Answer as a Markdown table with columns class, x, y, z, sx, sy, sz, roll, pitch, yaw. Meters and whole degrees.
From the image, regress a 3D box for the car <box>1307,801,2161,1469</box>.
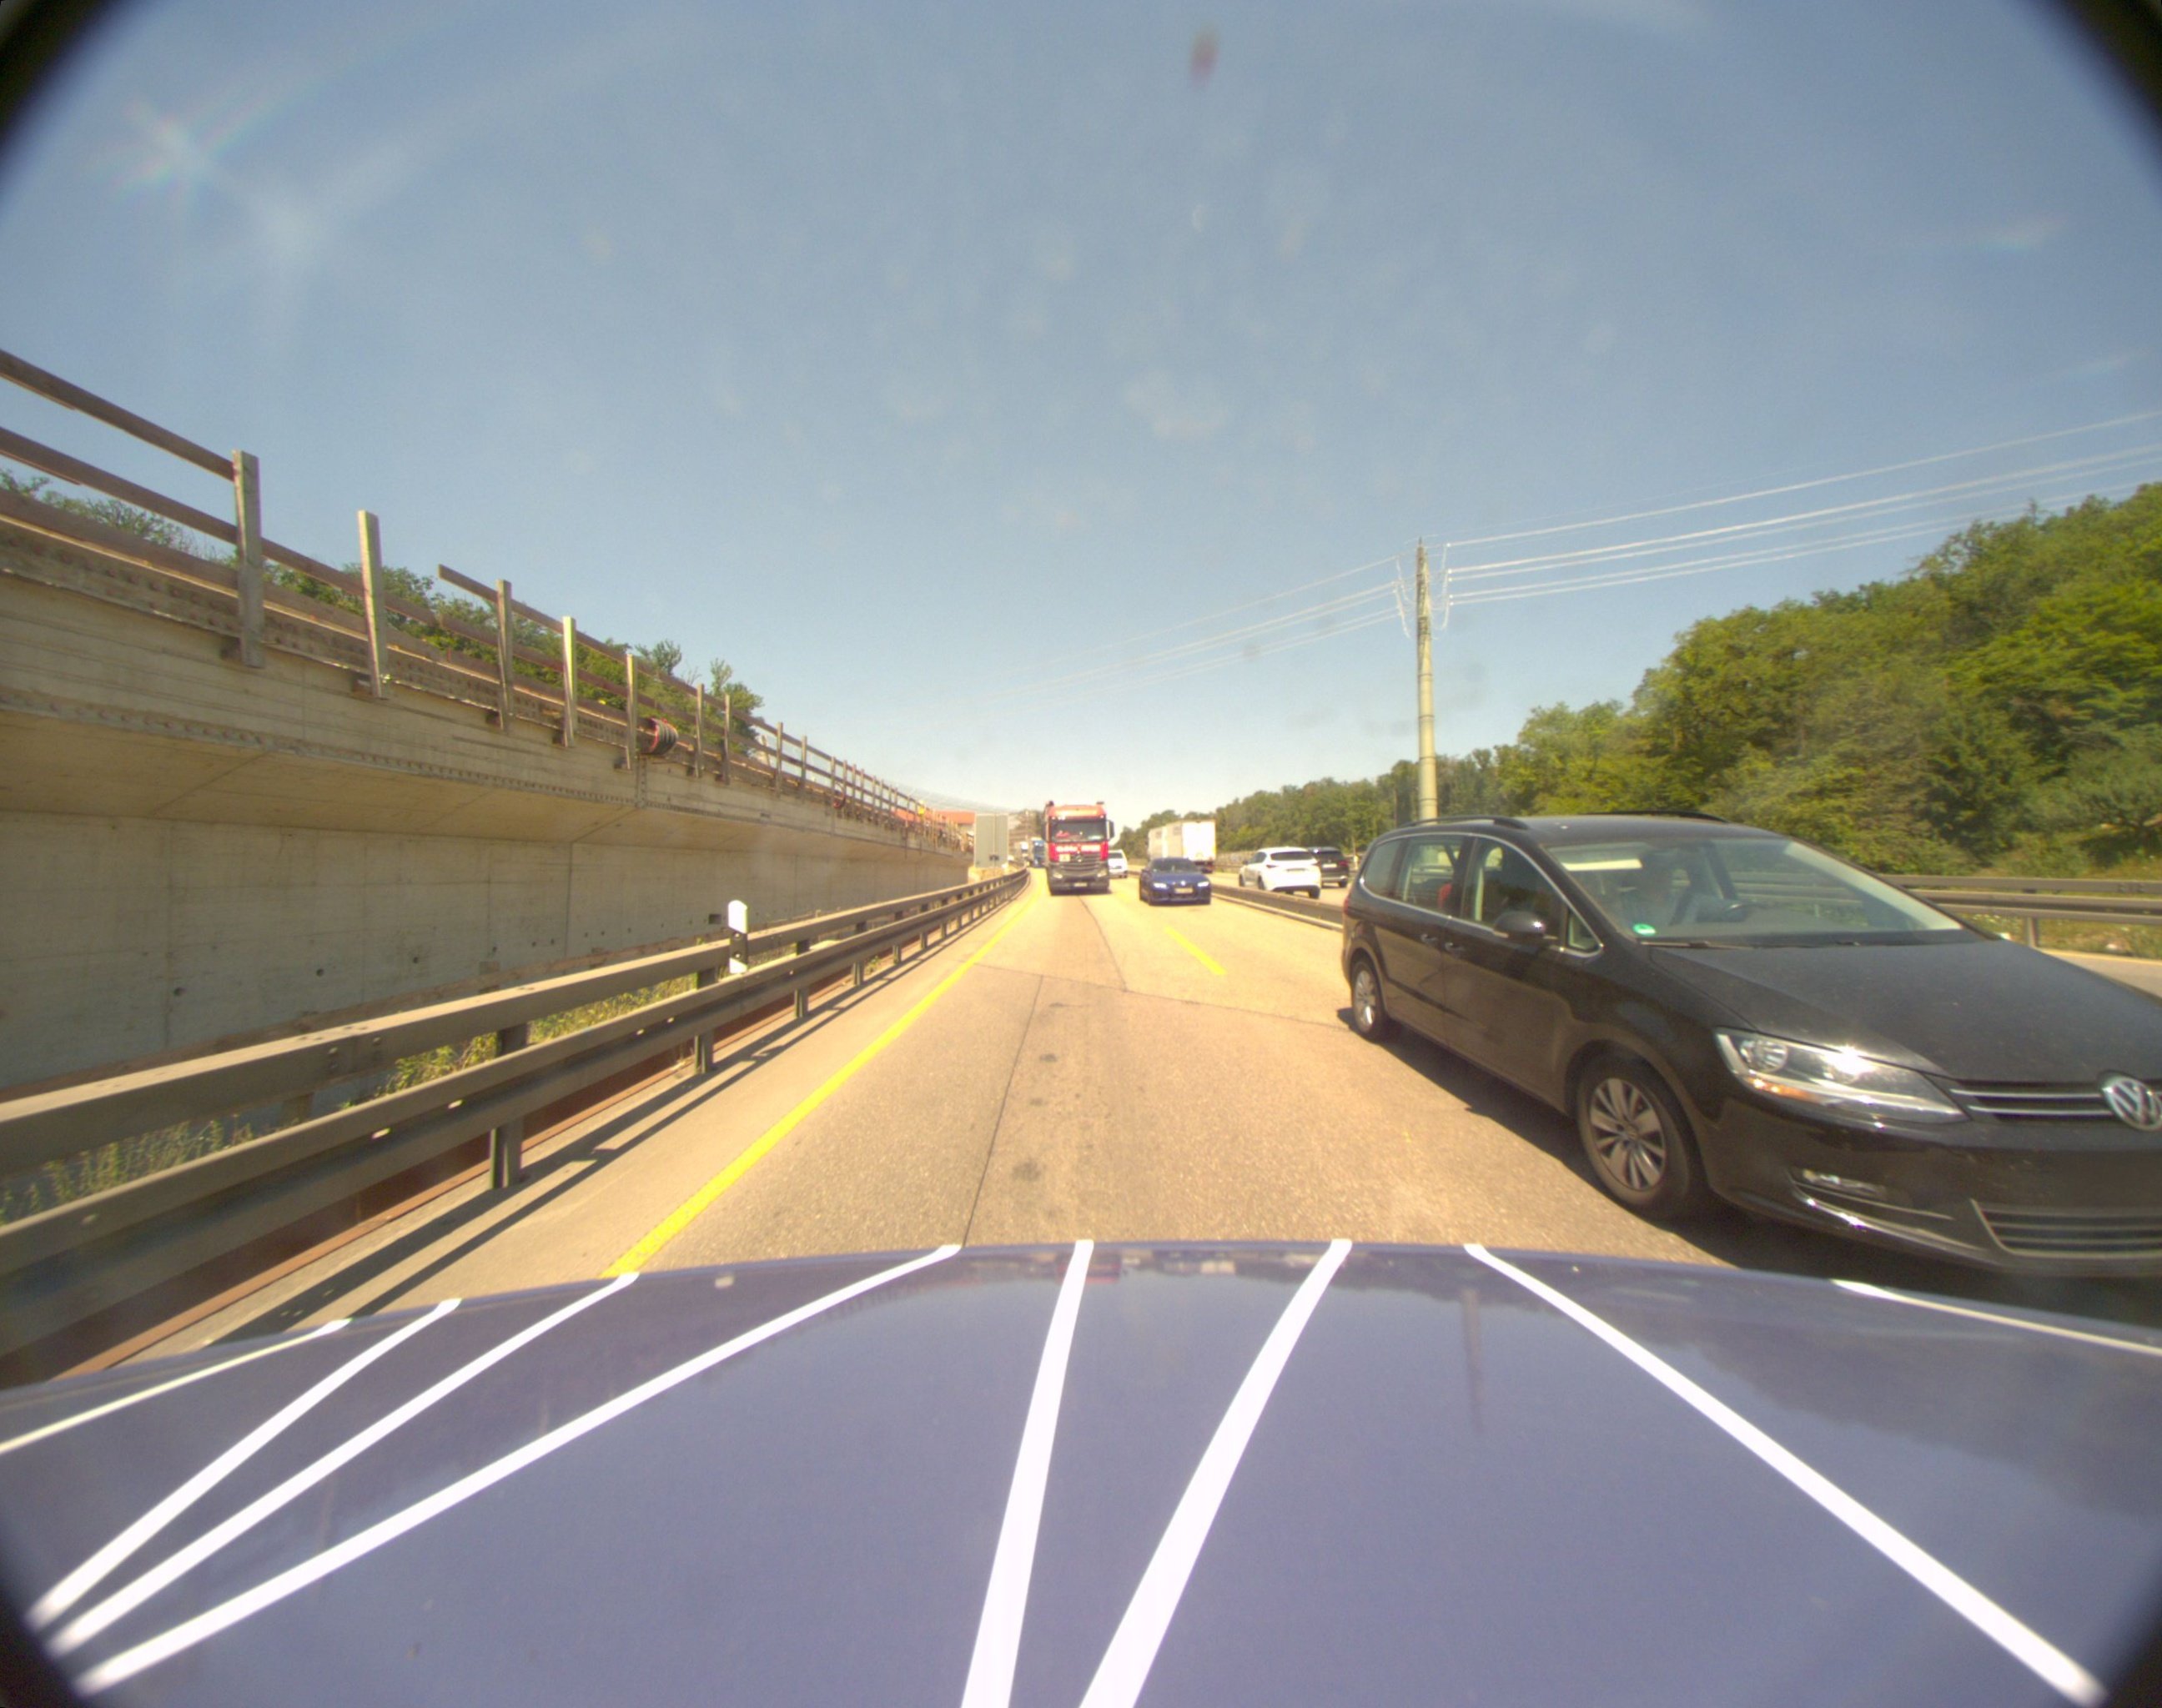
| class | x | y | z | sx | sy | sz | roll | pitch | yaw |
| --- | --- | --- | --- | --- | --- | --- | --- | --- | --- |
| car | 3.089 | 0.712 | 4.589 | 1.861 | 1.695 | 5.303 | -1 | 0 | 0 |

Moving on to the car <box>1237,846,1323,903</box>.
| class | x | y | z | sx | sy | sz | roll | pitch | yaw |
| --- | --- | --- | --- | --- | --- | --- | --- | --- | --- |
| car | 6.556 | 0.602 | 25.485 | 1.754 | 1.677 | 4.386 | -1 | 1 | 0 |

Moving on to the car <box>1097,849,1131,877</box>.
| class | x | y | z | sx | sy | sz | roll | pitch | yaw |
| --- | --- | --- | --- | --- | --- | --- | --- | --- | --- |
| car | 2.266 | 0.607 | 53.365 | 1.947 | 1.858 | 5.222 | -1 | 0 | -2 |

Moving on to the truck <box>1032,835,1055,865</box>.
| class | x | y | z | sx | sy | sz | roll | pitch | yaw |
| --- | --- | --- | --- | --- | --- | --- | --- | --- | --- |
| truck | -5.389 | -0.492 | 106.625 | 2.673 | 3.985 | 10.424 | -1 | 0 | -5 |

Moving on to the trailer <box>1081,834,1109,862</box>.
| class | x | y | z | sx | sy | sz | roll | pitch | yaw |
| --- | --- | --- | --- | --- | --- | --- | --- | --- | --- |
| trailer | 2.323 | -0.930 | 135.155 | 2.842 | 4.614 | 14.571 | -2 | 0 | -7 |

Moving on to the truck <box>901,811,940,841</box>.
| class | x | y | z | sx | sy | sz | roll | pitch | yaw |
| --- | --- | --- | --- | --- | --- | --- | --- | --- | --- |
| truck | -21.816 | -3.770 | 103.400 | 2.714 | 3.672 | 5.720 | -1 | -2 | 17 |

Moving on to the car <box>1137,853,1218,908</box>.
| class | x | y | z | sx | sy | sz | roll | pitch | yaw |
| --- | --- | --- | --- | --- | --- | --- | --- | --- | --- |
| car | 2.969 | 0.783 | 24.351 | 1.896 | 1.546 | 4.785 | -1 | 0 | -1 |

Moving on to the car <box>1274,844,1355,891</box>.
| class | x | y | z | sx | sy | sz | roll | pitch | yaw |
| --- | --- | --- | --- | --- | --- | --- | --- | --- | --- |
| car | 9.698 | 0.486 | 31.906 | 1.910 | 1.732 | 4.660 | -1 | 1 | 0 |

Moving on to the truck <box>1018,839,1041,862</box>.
| class | x | y | z | sx | sy | sz | roll | pitch | yaw |
| --- | --- | --- | --- | --- | --- | --- | --- | --- | --- |
| truck | -9.840 | -0.708 | 143.902 | 2.912 | 4.208 | 9.229 | -2 | 1 | -12 |

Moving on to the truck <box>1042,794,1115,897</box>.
| class | x | y | z | sx | sy | sz | roll | pitch | yaw |
| --- | --- | --- | --- | --- | --- | --- | --- | --- | --- |
| truck | -0.232 | -0.440 | 35.212 | 2.799 | 3.986 | 10.425 | -1 | 1 | -2 |

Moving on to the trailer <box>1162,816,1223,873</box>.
| class | x | y | z | sx | sy | sz | roll | pitch | yaw |
| --- | --- | --- | --- | --- | --- | --- | --- | --- | --- |
| trailer | 8.762 | -0.709 | 60.961 | 3.012 | 4.141 | 9.014 | -1 | 0 | -3 |

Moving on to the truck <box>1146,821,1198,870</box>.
| class | x | y | z | sx | sy | sz | roll | pitch | yaw |
| --- | --- | --- | --- | --- | --- | --- | --- | --- | --- |
| truck | 8.322 | -0.693 | 70.725 | 2.986 | 4.138 | 10.542 | -2 | 0 | -3 |
